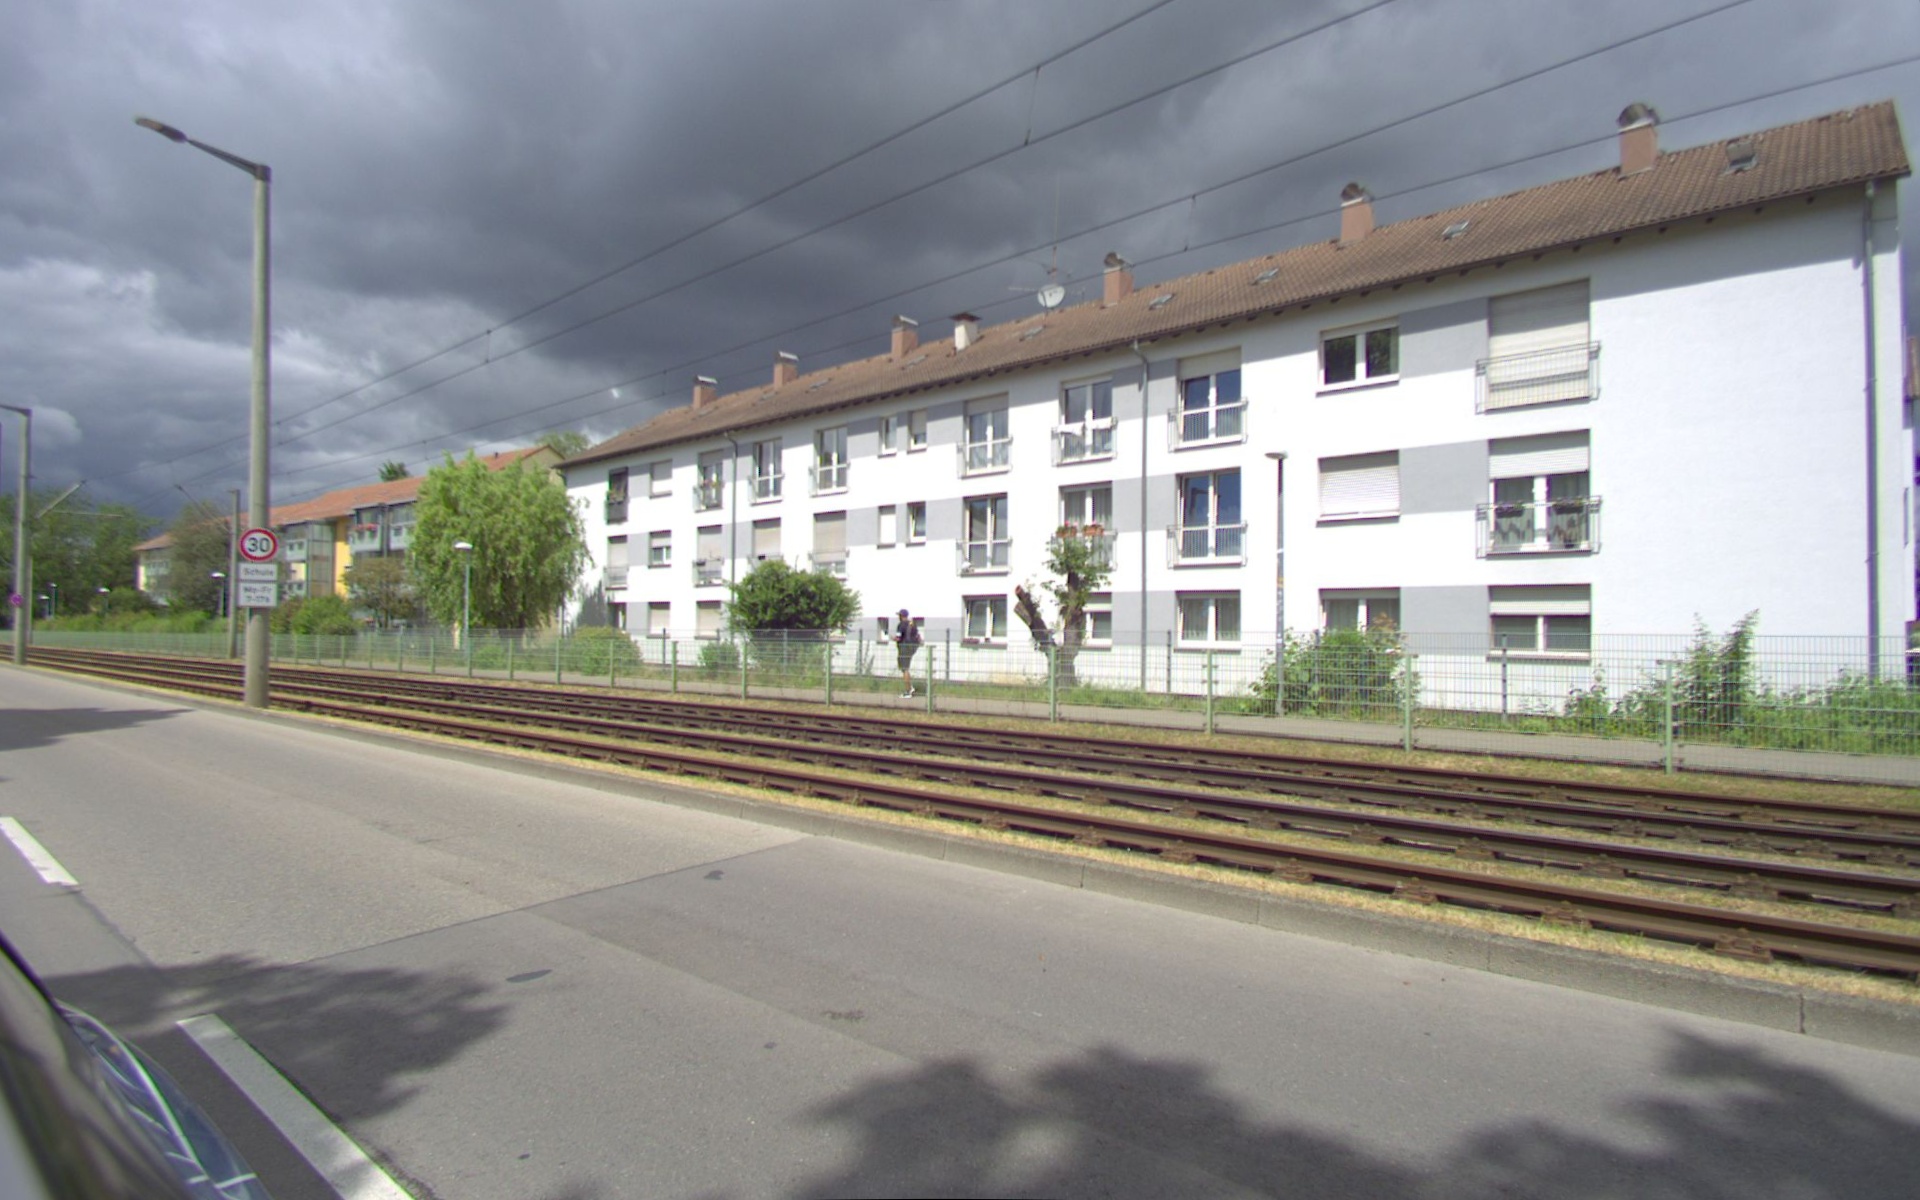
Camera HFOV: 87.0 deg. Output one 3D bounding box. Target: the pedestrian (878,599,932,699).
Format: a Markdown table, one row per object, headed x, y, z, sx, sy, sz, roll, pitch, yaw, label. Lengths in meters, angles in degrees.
| x | y | z | sx | sy | sz | roll | pitch | yaw | label |
| --- | --- | --- | --- | --- | --- | --- | --- | --- | --- |
| -1.054 | 0.927 | 19.332 | 0.768 | 1.863 | 0.652 | -2 | -4 | 41 | pedestrian |
